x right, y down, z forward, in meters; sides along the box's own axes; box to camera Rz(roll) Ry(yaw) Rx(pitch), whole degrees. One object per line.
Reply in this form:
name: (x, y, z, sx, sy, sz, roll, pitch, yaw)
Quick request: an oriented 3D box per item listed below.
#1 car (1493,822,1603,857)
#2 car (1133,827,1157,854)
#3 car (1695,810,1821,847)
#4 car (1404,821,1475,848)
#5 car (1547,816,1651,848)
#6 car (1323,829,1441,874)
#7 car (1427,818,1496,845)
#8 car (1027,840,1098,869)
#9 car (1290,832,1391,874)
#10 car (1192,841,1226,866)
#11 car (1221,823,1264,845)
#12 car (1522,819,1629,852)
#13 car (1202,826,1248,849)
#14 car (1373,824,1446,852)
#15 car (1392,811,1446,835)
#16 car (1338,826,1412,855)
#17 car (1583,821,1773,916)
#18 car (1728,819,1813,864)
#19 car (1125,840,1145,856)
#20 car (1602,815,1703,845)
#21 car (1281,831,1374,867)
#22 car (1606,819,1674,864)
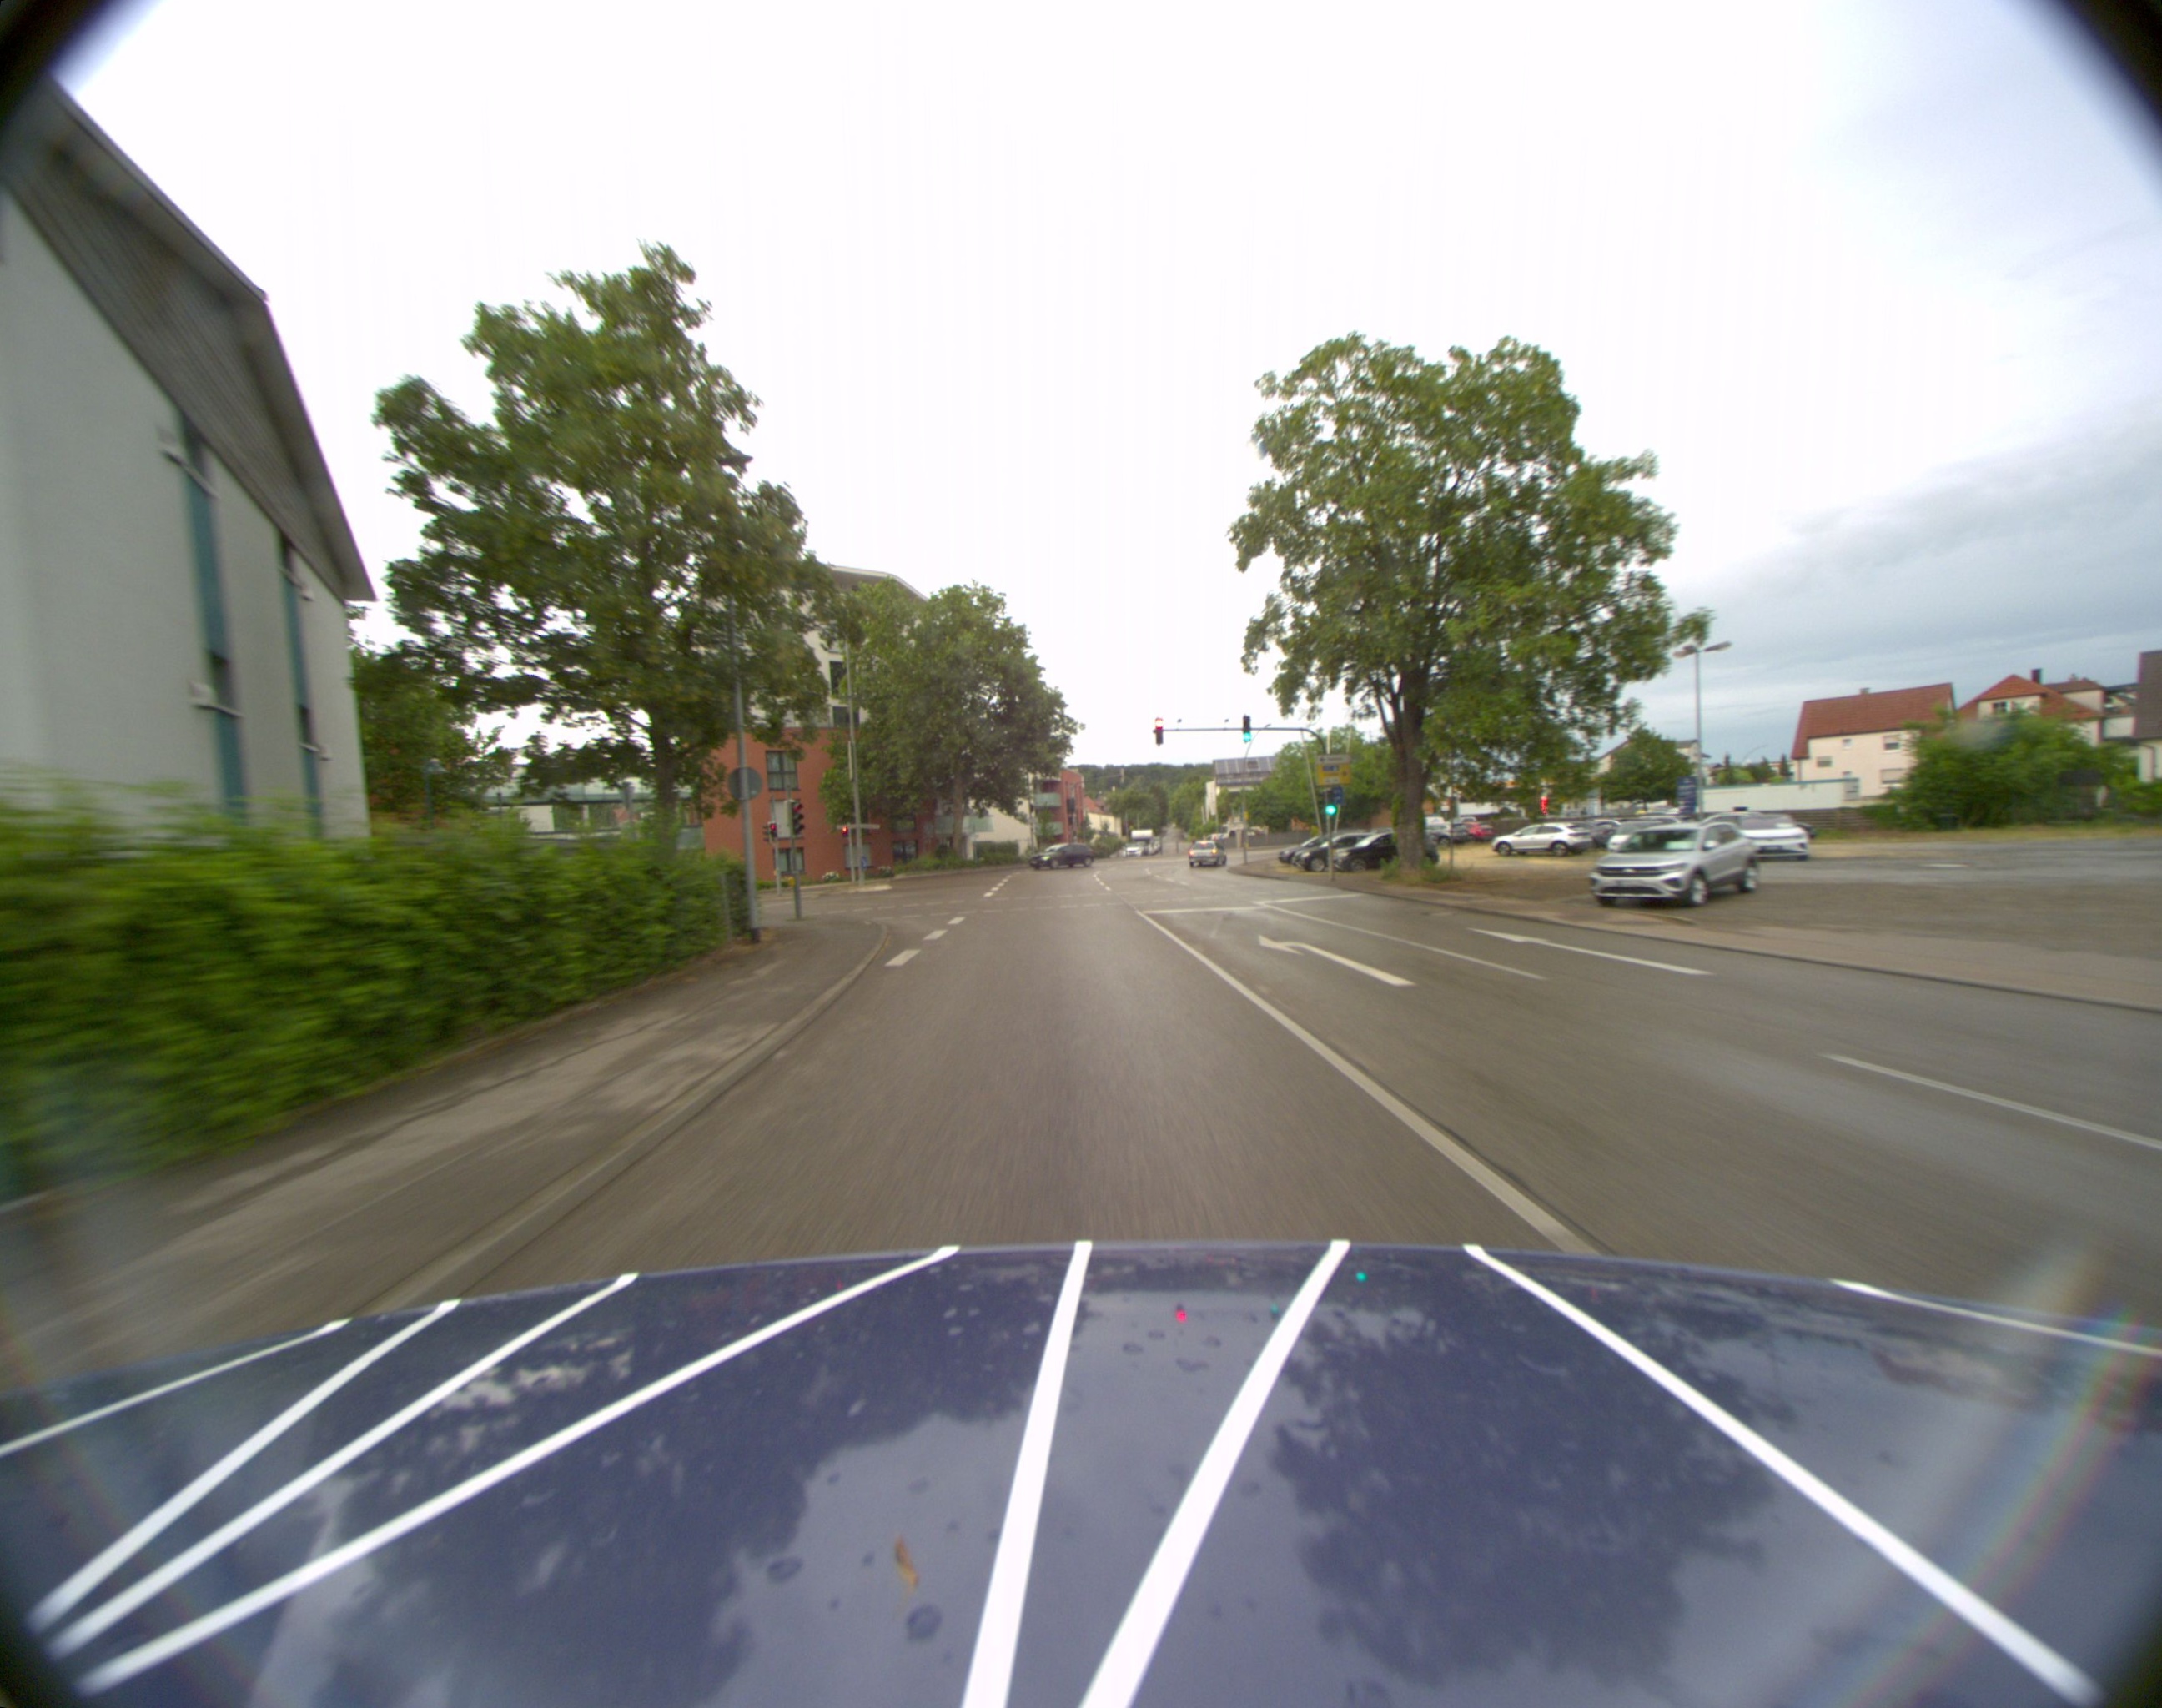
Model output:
car: (22.038, -0.662, 35.970, 1.793, 1.443, 4.034, -4, 2, -33)
car: (7.576, -1.626, 89.438, 2.573, 2.759, 6.127, -2, 4, 6)
car: (31.790, -1.159, 35.789, 1.793, 1.546, 4.034, -4, 1, -29)
car: (22.892, -1.242, 48.617, 1.596, 1.542, 3.764, -4, 2, -42)
car: (26.620, -1.122, 39.189, 1.793, 1.443, 4.034, -4, 2, -33)
car: (11.706, -0.101, 29.724, 3.893, 1.558, 1.672, -3, 1, 2)
car: (25.238, -1.483, 50.467, 1.596, 1.542, 3.764, -4, 2, -42)
car: (-1.077, -0.009, 45.283, 4.006, 1.419, 1.765, -6, 4, -44)
car: (11.029, -0.049, 32.499, 3.765, 1.558, 1.672, -3, 1, 5)
car: (7.562, -0.054, 44.568, 1.647, 1.372, 3.706, -1, 1, 14)
car: (16.422, -2.112, 77.526, 1.773, 2.094, 4.211, -5, 5, -32)
car: (24.344, -0.884, 37.525, 1.793, 1.443, 4.034, -4, 2, -33)
car: (13.684, -1.605, 72.282, 1.773, 2.094, 4.372, -5, 5, -31)
car: (20.202, -0.974, 46.879, 1.596, 1.542, 3.764, -4, 2, -42)
car: (31.852, -2.950, 71.610, 5.263, 2.074, 2.049, -3, 1, -32)
car: (17.566, -0.770, 45.469, 1.596, 1.542, 3.764, -4, 2, -42)
car: (12.481, 0.251, 15.836, 4.013, 1.561, 1.717, -5, 1, -31)
car: (23.979, -0.463, 26.555, 1.825, 1.407, 4.017, -2, 1, 37)
car: (5.184, -0.603, 73.035, 1.769, 1.459, 4.000, -3, 1, 3)
car: (31.295, -1.298, 41.697, 1.793, 1.443, 4.034, -4, 2, -33)
car: (11.877, -0.228, 36.899, 4.153, 1.502, 1.673, -2, 2, 15)
car: (21.325, -0.496, 28.907, 1.785, 1.501, 4.051, -2, 2, 40)
